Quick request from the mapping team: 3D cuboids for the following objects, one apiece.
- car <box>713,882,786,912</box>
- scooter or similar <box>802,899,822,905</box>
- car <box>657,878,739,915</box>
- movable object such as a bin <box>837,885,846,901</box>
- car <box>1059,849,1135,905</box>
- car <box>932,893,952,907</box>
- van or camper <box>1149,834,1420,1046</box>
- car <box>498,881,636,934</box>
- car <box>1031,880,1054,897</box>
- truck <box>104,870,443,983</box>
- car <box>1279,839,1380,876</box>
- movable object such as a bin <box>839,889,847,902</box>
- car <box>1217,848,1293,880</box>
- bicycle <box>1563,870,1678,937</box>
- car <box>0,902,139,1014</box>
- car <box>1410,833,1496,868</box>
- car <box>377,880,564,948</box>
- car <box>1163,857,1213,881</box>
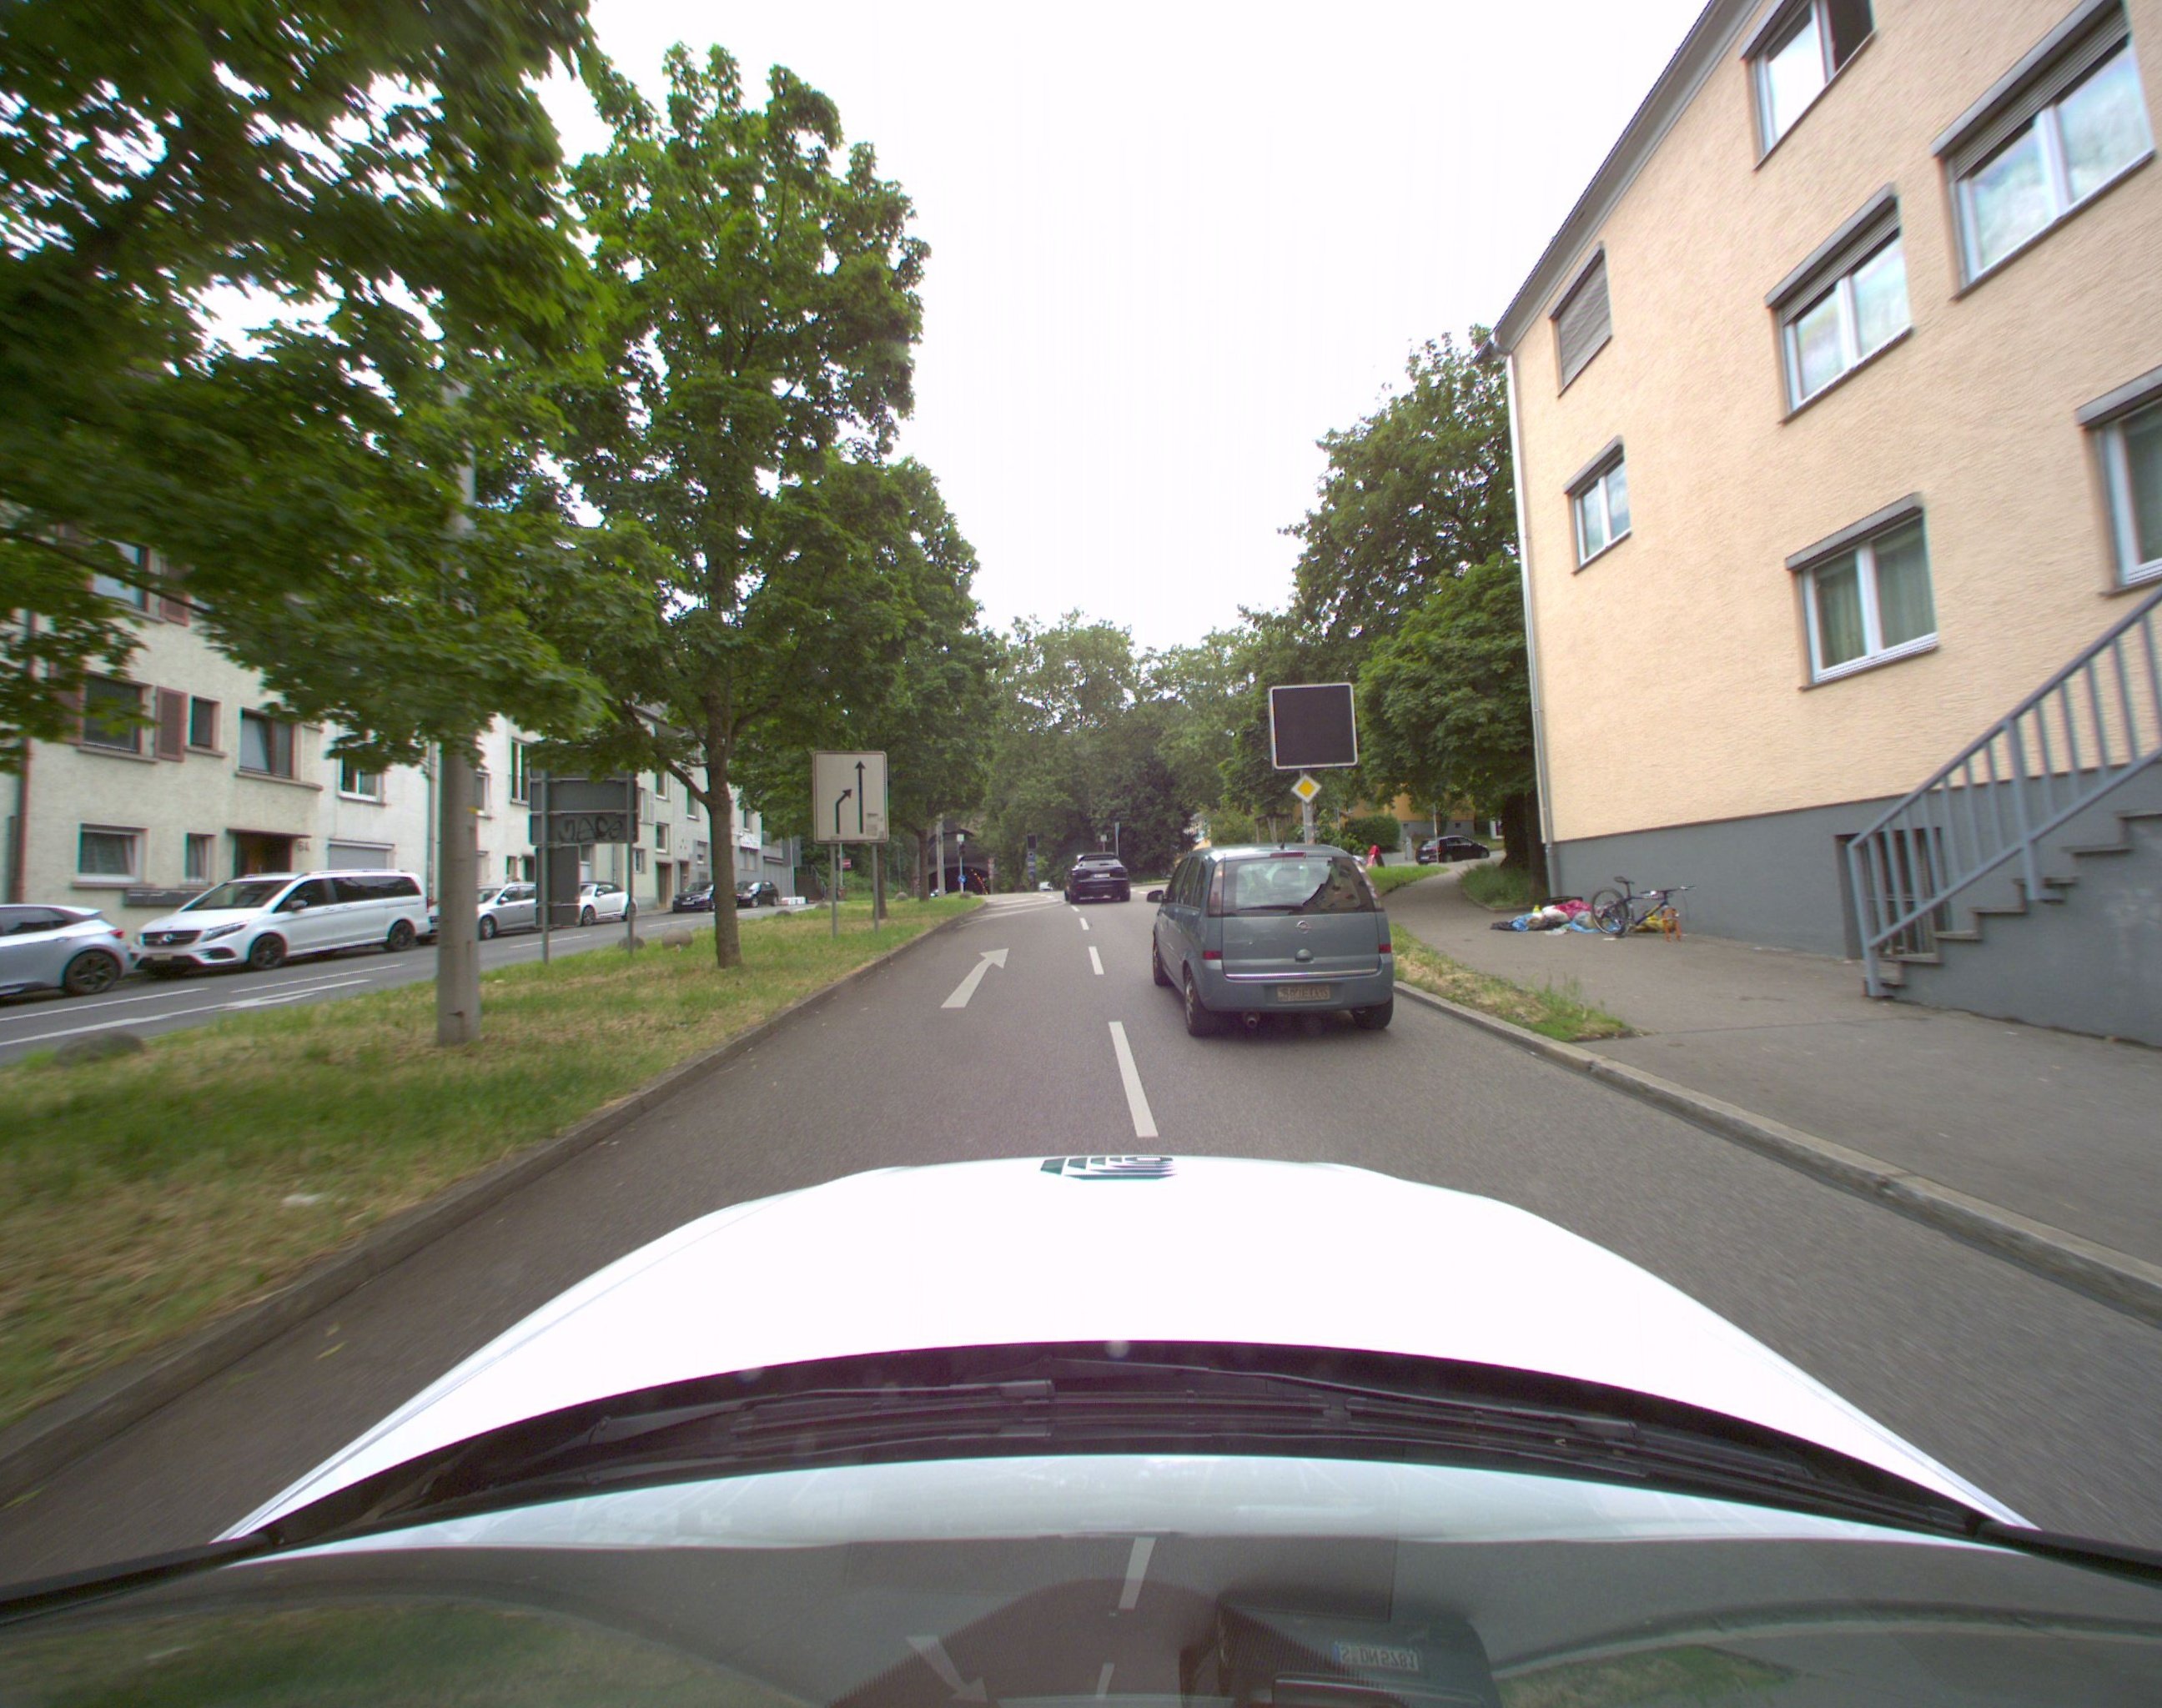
[{"bbox_3d":[-17.321,2.217,42.821,1.988,1.400,4.515,-3,-1,-1],"label":"car"},{"bbox_3d":[-16.671,2.953,50.539,1.126,0.288,1.092,-3,-3,-17],"label":"scooter or similar"},{"bbox_3d":[-17.481,1.899,37.367,1.990,1.423,4.204,-3,-1,-5],"label":"car"},{"bbox_3d":[-17.602,2.883,59.847,0.606,1.186,0.489,1,-4,-17],"label":"movable object such as a bin"},{"bbox_3d":[0.453,0.763,27.716,1.991,1.653,3.991,-3,-1,-6],"label":"car"},{"bbox_3d":[-18.295,6.113,107.320,1.866,1.699,4.928,-3,-3,-3],"label":"car"},{"bbox_3d":[1.710,0.665,8.062,1.730,1.578,3.645,-1,0,0],"label":"van or camper"},{"bbox_3d":[-17.128,1.737,27.434,1.988,1.474,4.156,-3,-1,-1],"label":"car"},{"bbox_3d":[-3.741,3.346,78.411,1.783,1.442,5.049,-3,-3,-7],"label":"car"},{"bbox_3d":[-16.721,1.366,17.430,1.989,1.920,5.342,-3,-1,-2],"label":"truck"},{"bbox_3d":[11.542,0.154,37.913,4.124,1.428,1.853,-4,0,-15],"label":"car"},{"bbox_3d":[-17.334,3.014,59.402,0.517,0.968,0.442,1,-4,-17],"label":"movable object such as a bin"},{"bbox_3d":[9.090,0.487,42.334,1.975,1.418,4.025,-4,-1,43],"label":"car"},{"bbox_3d":[7.049,0.624,10.727,0.486,0.773,1.558,-3,-1,2],"label":"bicycle"},{"bbox_3d":[-16.614,1.584,11.424,1.989,1.552,4.154,-3,-1,-2],"label":"car"},{"bbox_3d":[18.955,-0.170,41.475,4.141,1.428,1.722,-4,-2,-28],"label":"car"},{"bbox_3d":[-16.881,1.597,22.845,1.989,1.552,4.378,-3,-1,-2],"label":"car"},{"bbox_3d":[8.842,1.282,67.646,2.001,1.578,4.869,-3,-3,-21],"label":"car"}]
